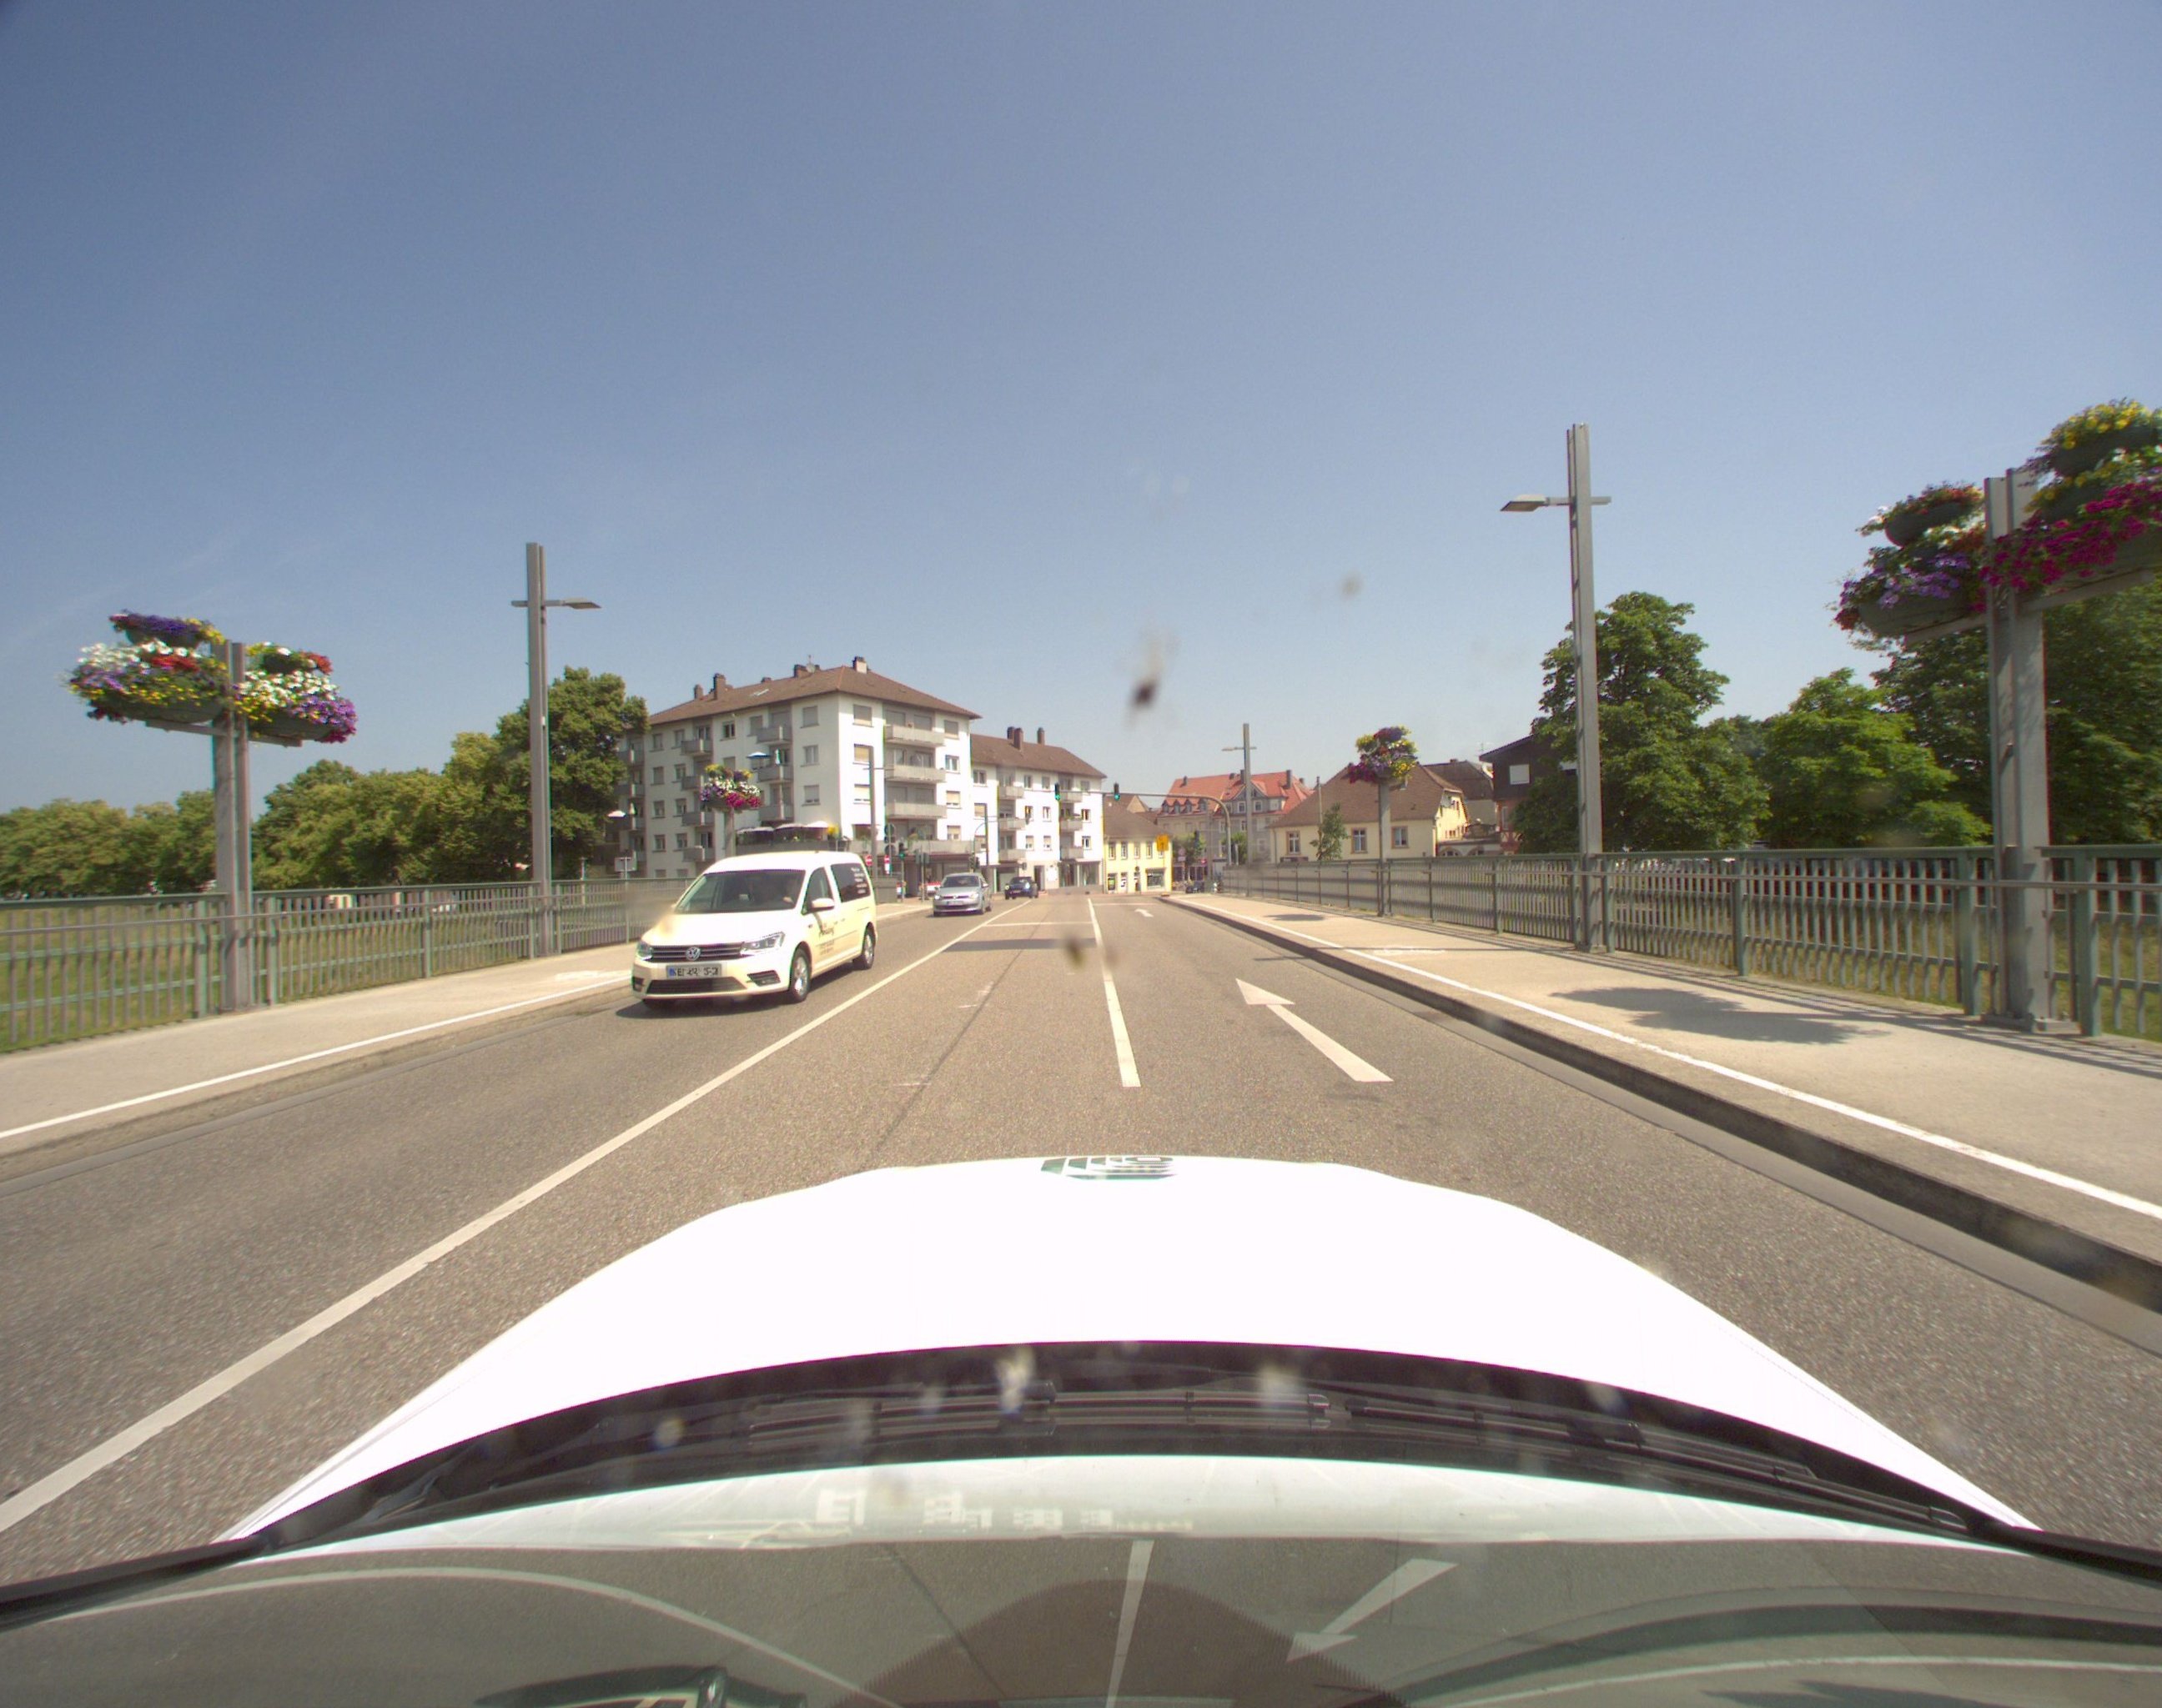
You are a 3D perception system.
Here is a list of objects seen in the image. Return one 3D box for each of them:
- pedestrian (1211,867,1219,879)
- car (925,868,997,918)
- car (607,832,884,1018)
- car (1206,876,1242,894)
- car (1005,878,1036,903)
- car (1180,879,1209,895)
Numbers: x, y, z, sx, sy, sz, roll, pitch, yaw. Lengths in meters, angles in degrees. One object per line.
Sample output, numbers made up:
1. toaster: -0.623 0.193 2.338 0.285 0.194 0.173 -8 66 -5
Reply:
1. pedestrian: 22.320 3.133 135.446 1.020 1.981 1.027 -1 -1 35
2. car: -4.097 1.290 28.353 1.754 1.519 4.001 -2 0 1
3. car: -4.070 0.769 10.838 1.754 1.857 4.644 -3 -1 -1
4. car: 14.387 3.109 81.782 1.971 1.613 4.370 -2 0 31
5. car: -3.811 2.271 51.639 1.651 1.440 3.754 -2 -1 0
6. car: 12.558 3.633 90.111 1.660 1.488 3.980 -4 -2 32
